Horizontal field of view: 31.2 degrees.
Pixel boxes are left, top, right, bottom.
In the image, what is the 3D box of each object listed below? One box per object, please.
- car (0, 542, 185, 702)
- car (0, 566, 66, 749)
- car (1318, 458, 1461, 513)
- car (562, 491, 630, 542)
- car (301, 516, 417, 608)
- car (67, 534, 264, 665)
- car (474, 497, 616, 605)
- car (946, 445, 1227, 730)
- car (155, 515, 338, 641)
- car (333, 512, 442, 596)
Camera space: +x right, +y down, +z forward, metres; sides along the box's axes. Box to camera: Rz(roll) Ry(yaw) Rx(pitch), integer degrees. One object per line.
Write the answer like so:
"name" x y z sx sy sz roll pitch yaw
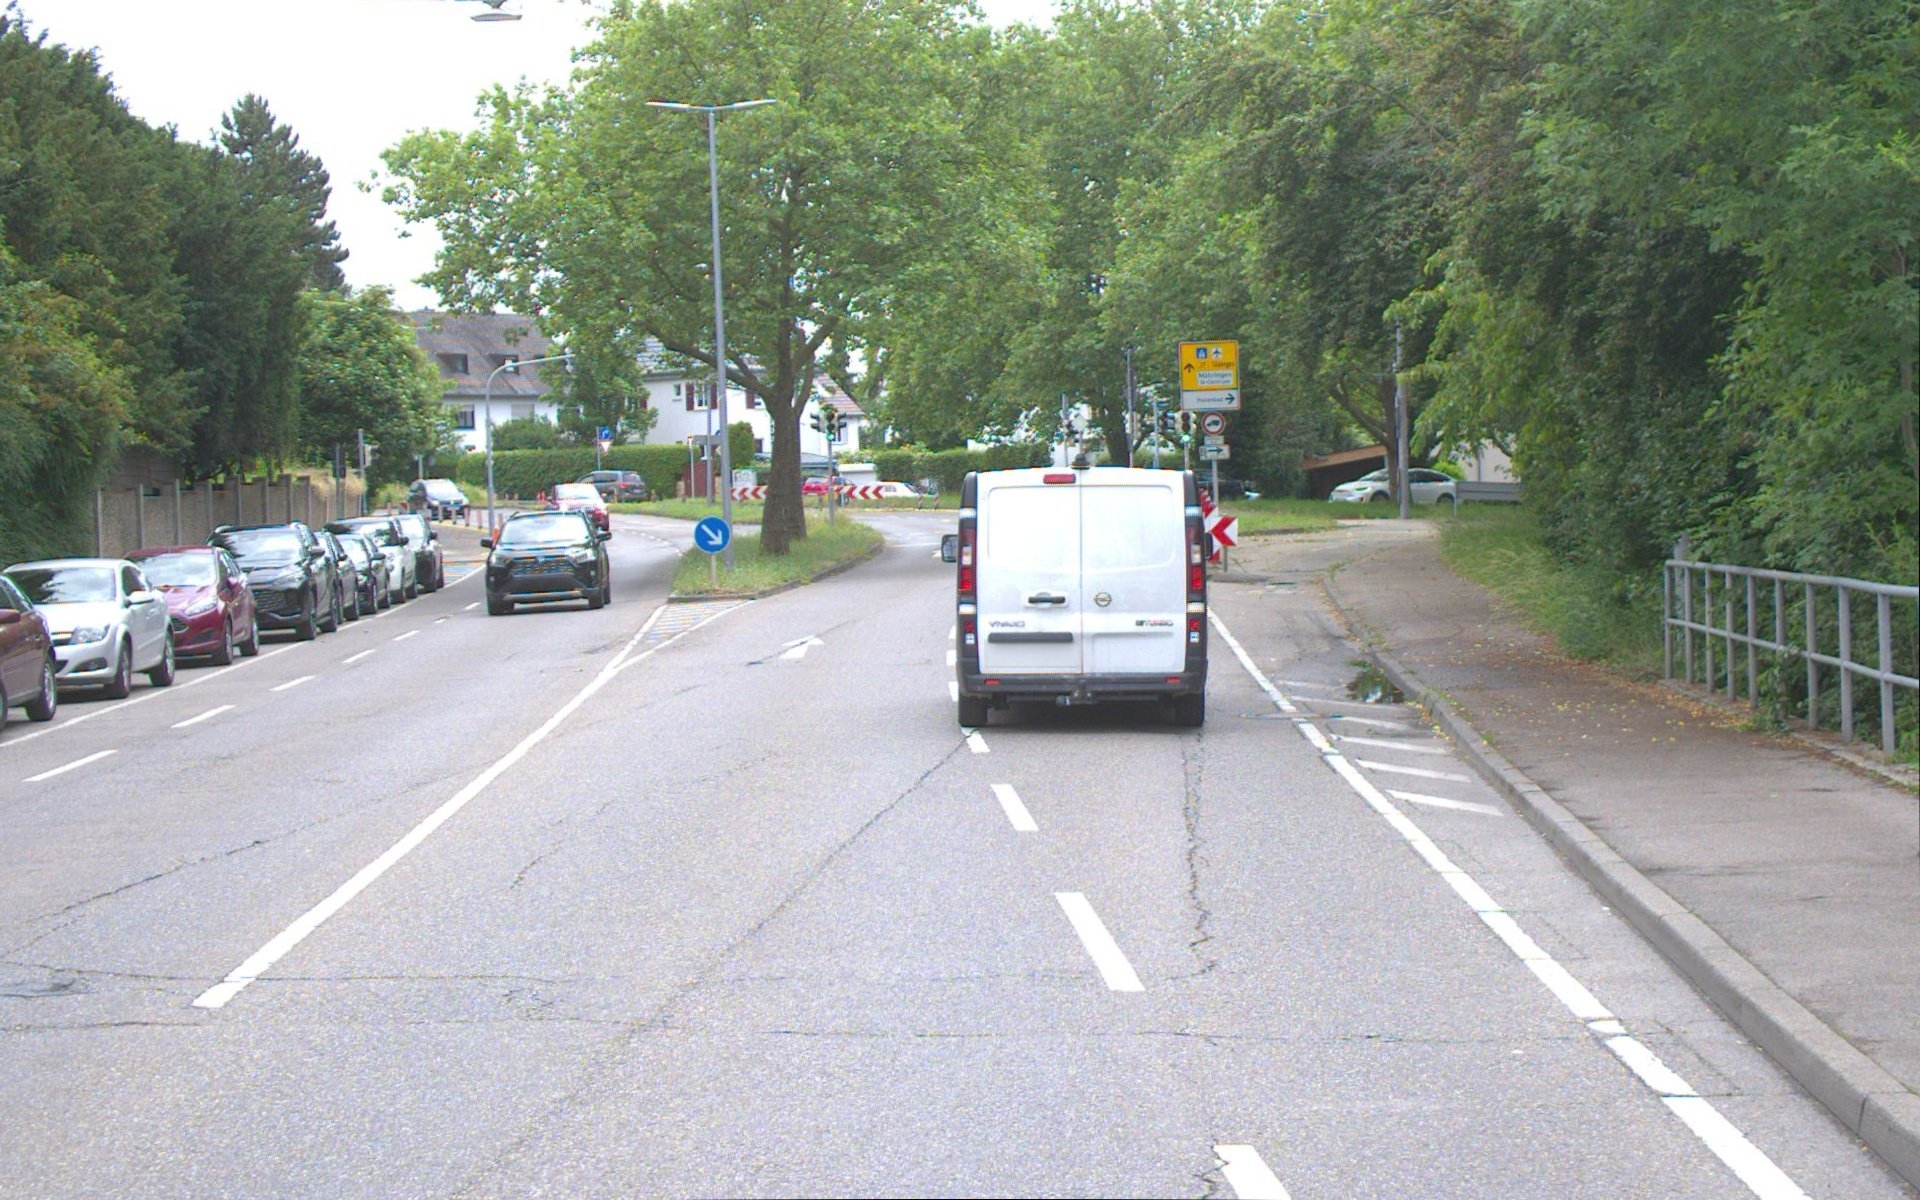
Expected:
"car" -9.342 0.195 35.951 1.669 1.483 4.432 -3 2 -4
"car" -8.941 0.517 29.644 1.669 1.473 3.912 -3 2 -5
"car" 14.982 -3.998 119.831 4.730 1.763 2.000 -3 3 -33
"car" -11.987 -2.762 113.340 1.998 1.582 3.998 -3 2 -4
"car" -11.516 -0.762 66.079 1.672 1.586 4.097 -4 2 -4
"car" -9.816 -0.046 42.739 1.779 1.433 4.001 -3 2 -5
"car" -6.783 -0.811 56.597 1.842 1.641 4.213 -2 1 -1
"car" 0.911 -0.148 27.166 2.006 2.031 5.010 0 1 0
"car" -10.194 -0.360 49.415 1.993 1.637 4.467 -3 2 -5
"car" -11.850 -0.980 71.411 1.887 1.619 4.432 -2 2 -6
